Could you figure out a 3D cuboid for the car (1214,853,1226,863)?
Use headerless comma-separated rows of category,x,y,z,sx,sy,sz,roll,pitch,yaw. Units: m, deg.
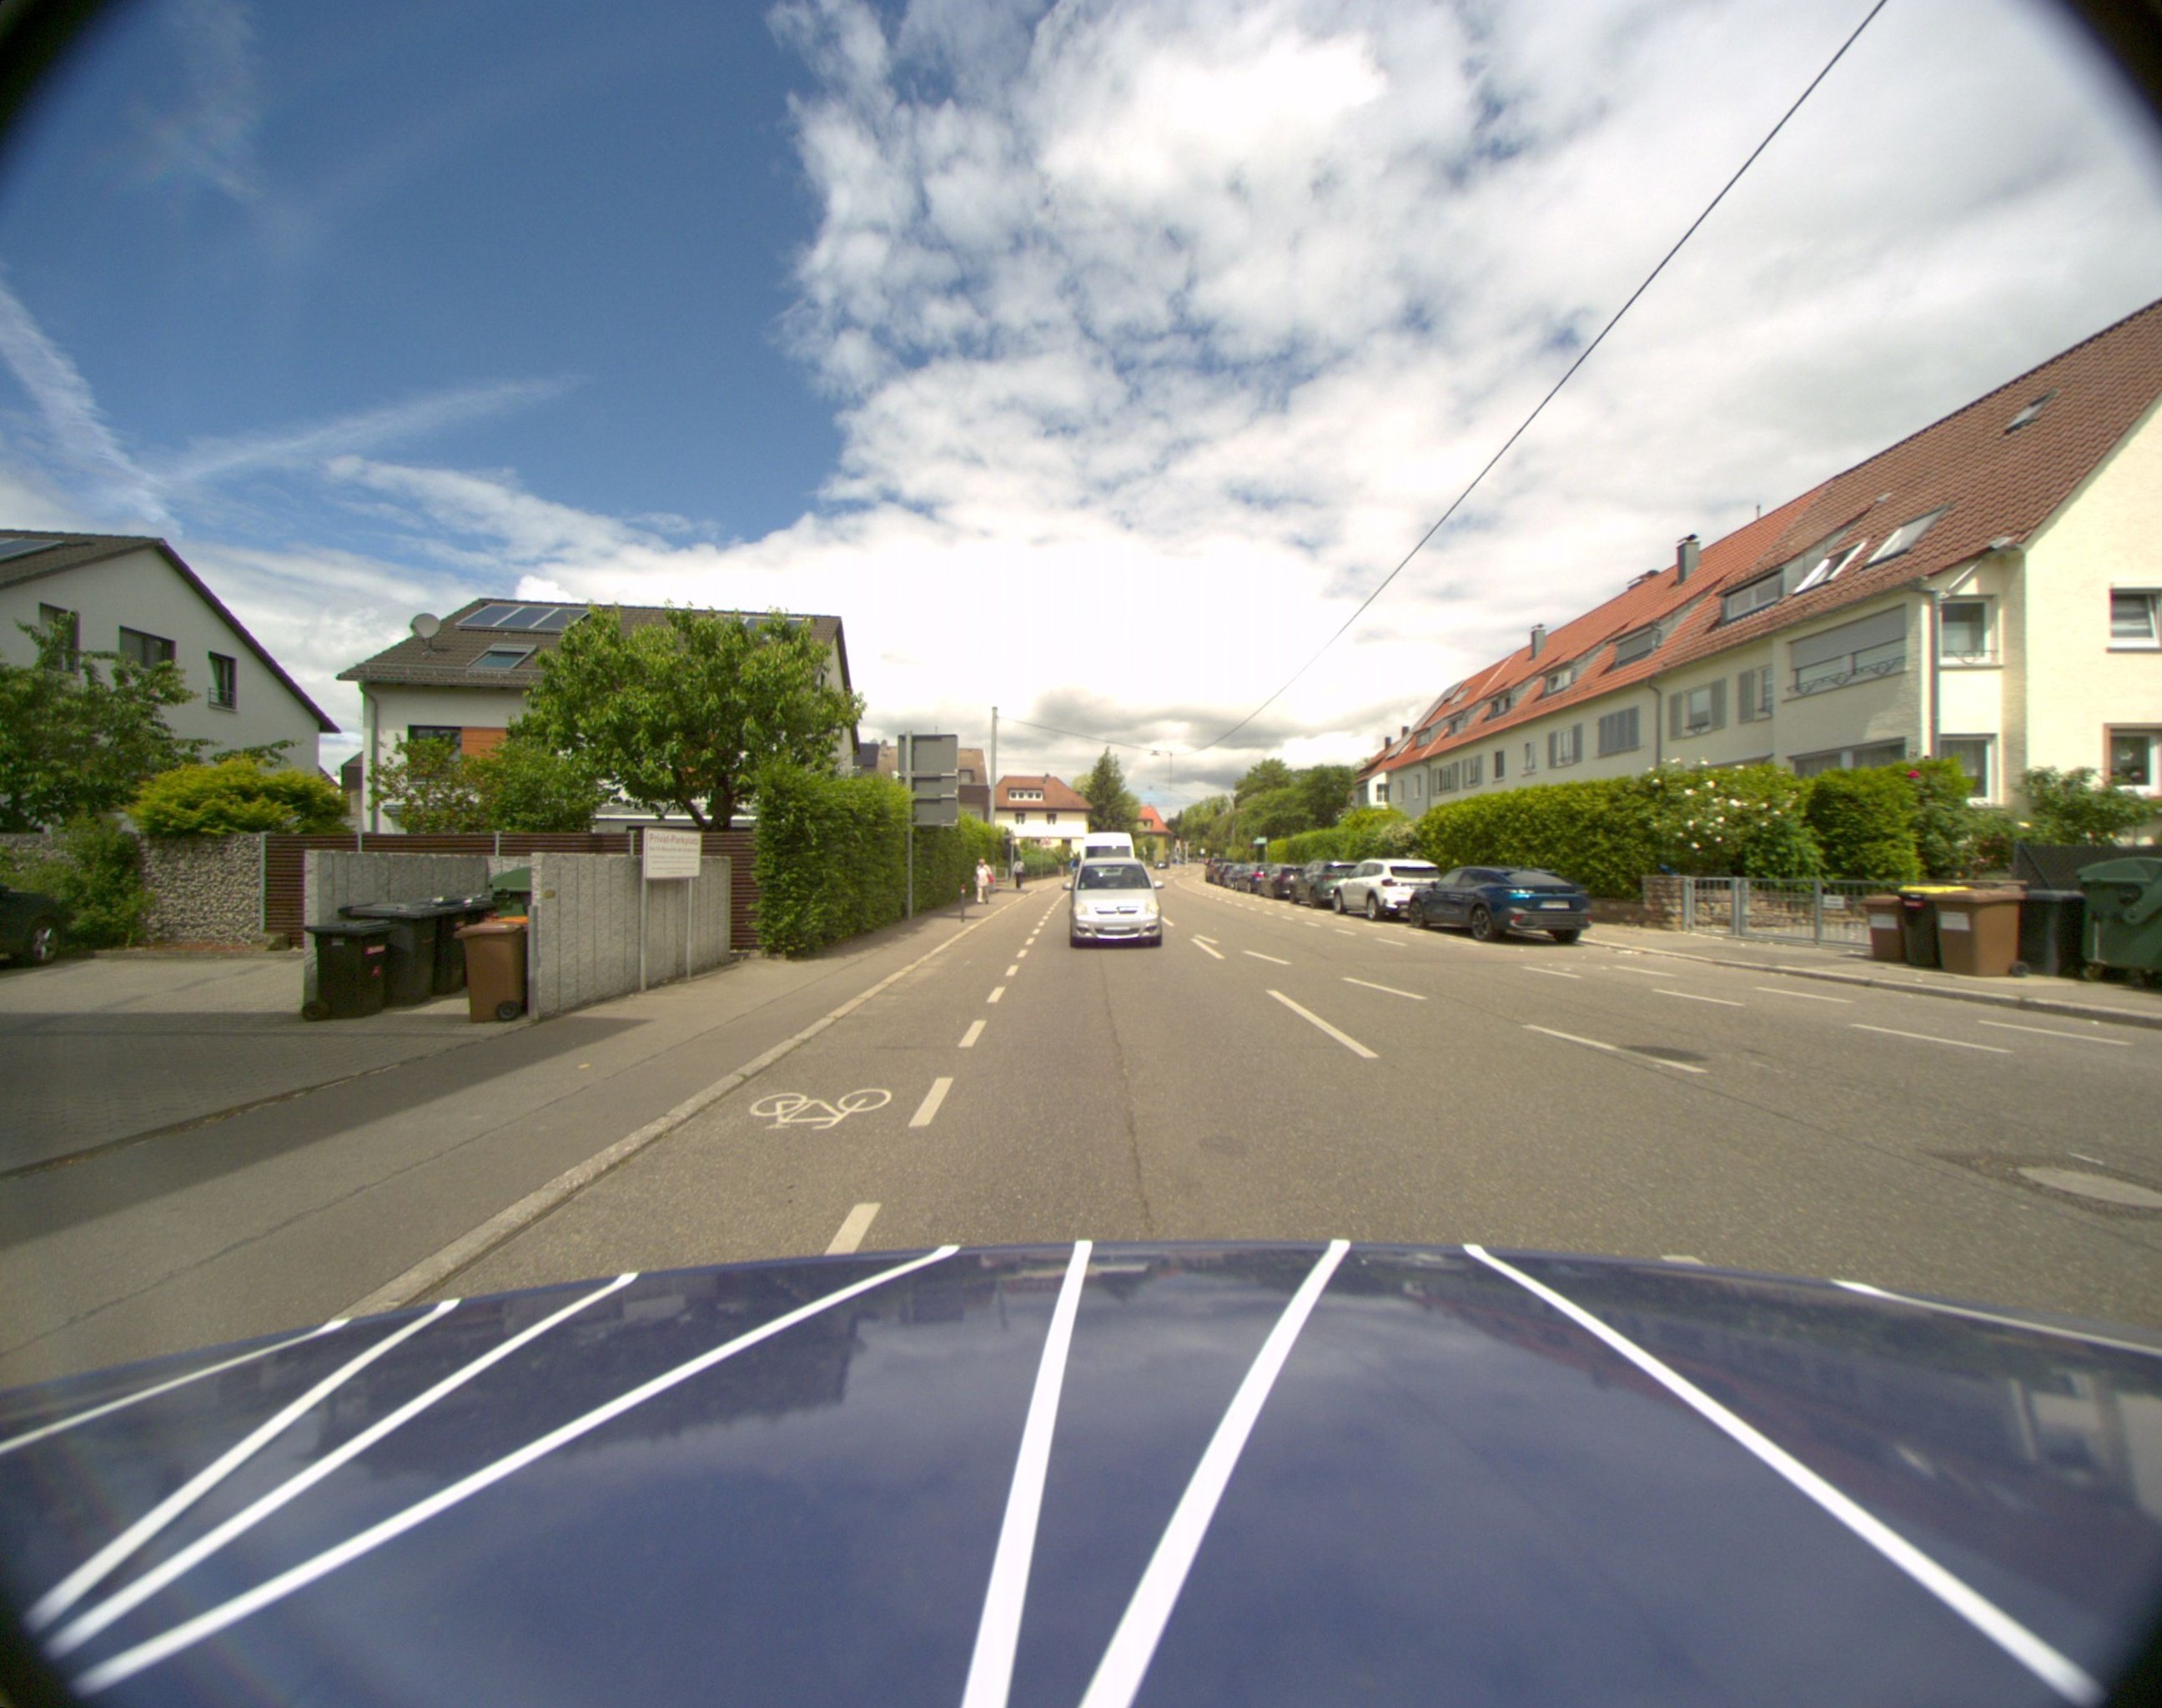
car,24.299,0.709,133.045,1.919,1.639,4.297,4,1,11

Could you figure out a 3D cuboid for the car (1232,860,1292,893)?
car,8.790,1.041,37.282,1.782,1.483,4.565,0,0,-1

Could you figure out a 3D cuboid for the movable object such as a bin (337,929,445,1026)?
movable object such as a bin,-7.135,1.260,7.884,0.635,0.887,0.539,-1,0,-16

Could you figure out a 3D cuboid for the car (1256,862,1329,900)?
car,8.736,1.077,31.791,1.998,1.400,4.690,0,0,3

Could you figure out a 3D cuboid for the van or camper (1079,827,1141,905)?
van or camper,1.048,0.463,28.500,2.030,2.564,5.924,-2,-1,1

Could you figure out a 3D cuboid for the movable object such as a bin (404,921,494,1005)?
movable object such as a bin,-7.423,1.263,8.950,0.635,0.887,0.539,-1,0,-16

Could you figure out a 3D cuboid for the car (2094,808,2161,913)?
car,19.393,0.060,12.141,3.997,1.696,1.803,-1,0,0

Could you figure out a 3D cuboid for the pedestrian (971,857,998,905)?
pedestrian,-3.290,0.927,26.029,0.800,1.608,0.653,1,1,2

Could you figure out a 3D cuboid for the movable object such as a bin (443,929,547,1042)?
movable object such as a bin,-5.610,1.237,7.311,0.534,0.945,0.686,-1,0,-13

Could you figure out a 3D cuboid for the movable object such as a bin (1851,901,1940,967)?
movable object such as a bin,11.524,1.116,10.767,0.597,0.874,0.614,0,0,1

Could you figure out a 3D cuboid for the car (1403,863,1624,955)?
car,8.702,1.006,15.857,1.999,1.578,4.488,0,0,-1

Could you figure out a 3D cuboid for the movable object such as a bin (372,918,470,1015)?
movable object such as a bin,-7.286,1.225,8.416,0.629,0.962,0.539,-1,0,-16

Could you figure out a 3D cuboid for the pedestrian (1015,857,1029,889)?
pedestrian,-3.051,0.979,39.166,0.604,1.596,0.836,2,1,2

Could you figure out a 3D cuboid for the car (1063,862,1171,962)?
car,0.745,0.976,14.484,1.707,1.531,4.332,-2,0,4

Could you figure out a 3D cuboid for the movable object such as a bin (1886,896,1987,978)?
movable object such as a bin,11.364,1.092,10.114,0.597,1.018,0.658,0,0,1

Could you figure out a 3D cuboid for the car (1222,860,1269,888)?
car,9.113,1.072,42.361,1.782,1.409,4.440,0,0,1

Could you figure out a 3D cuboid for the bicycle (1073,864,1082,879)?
bicycle,-0.276,1.248,54.818,0.536,1.039,2.409,-1,0,2

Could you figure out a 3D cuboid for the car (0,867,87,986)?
car,-14.688,0.949,9.108,1.790,1.527,3.789,0,0,-25

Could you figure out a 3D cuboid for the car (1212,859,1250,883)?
car,9.426,1.026,47.970,1.782,1.409,4.340,0,0,3

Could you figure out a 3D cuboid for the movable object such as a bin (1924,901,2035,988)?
movable object such as a bin,11.142,1.112,9.447,0.597,1.001,0.658,0,0,1

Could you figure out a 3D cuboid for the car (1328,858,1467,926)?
car,8.495,0.953,20.912,1.998,1.641,4.517,0,0,1

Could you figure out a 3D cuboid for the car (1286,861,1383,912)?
car,8.654,1.062,26.387,1.998,1.555,4.690,0,0,3

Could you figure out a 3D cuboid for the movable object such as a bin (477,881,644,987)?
movable object such as a bin,-6.927,1.022,10.240,1.192,1.255,1.535,-1,0,-2

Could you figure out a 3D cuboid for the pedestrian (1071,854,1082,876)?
pedestrian,-0.294,0.792,54.769,0.736,1.508,0.872,-1,0,1

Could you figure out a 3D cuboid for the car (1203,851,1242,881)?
car,9.859,0.799,53.273,1.998,1.884,5.405,2,0,4

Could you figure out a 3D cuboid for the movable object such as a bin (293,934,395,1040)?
movable object such as a bin,-7.078,1.260,7.319,0.494,0.907,0.539,-1,0,-16

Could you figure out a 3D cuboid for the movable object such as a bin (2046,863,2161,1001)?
movable object such as a bin,12.194,0.847,8.569,1.068,1.473,1.214,0,0,-1
